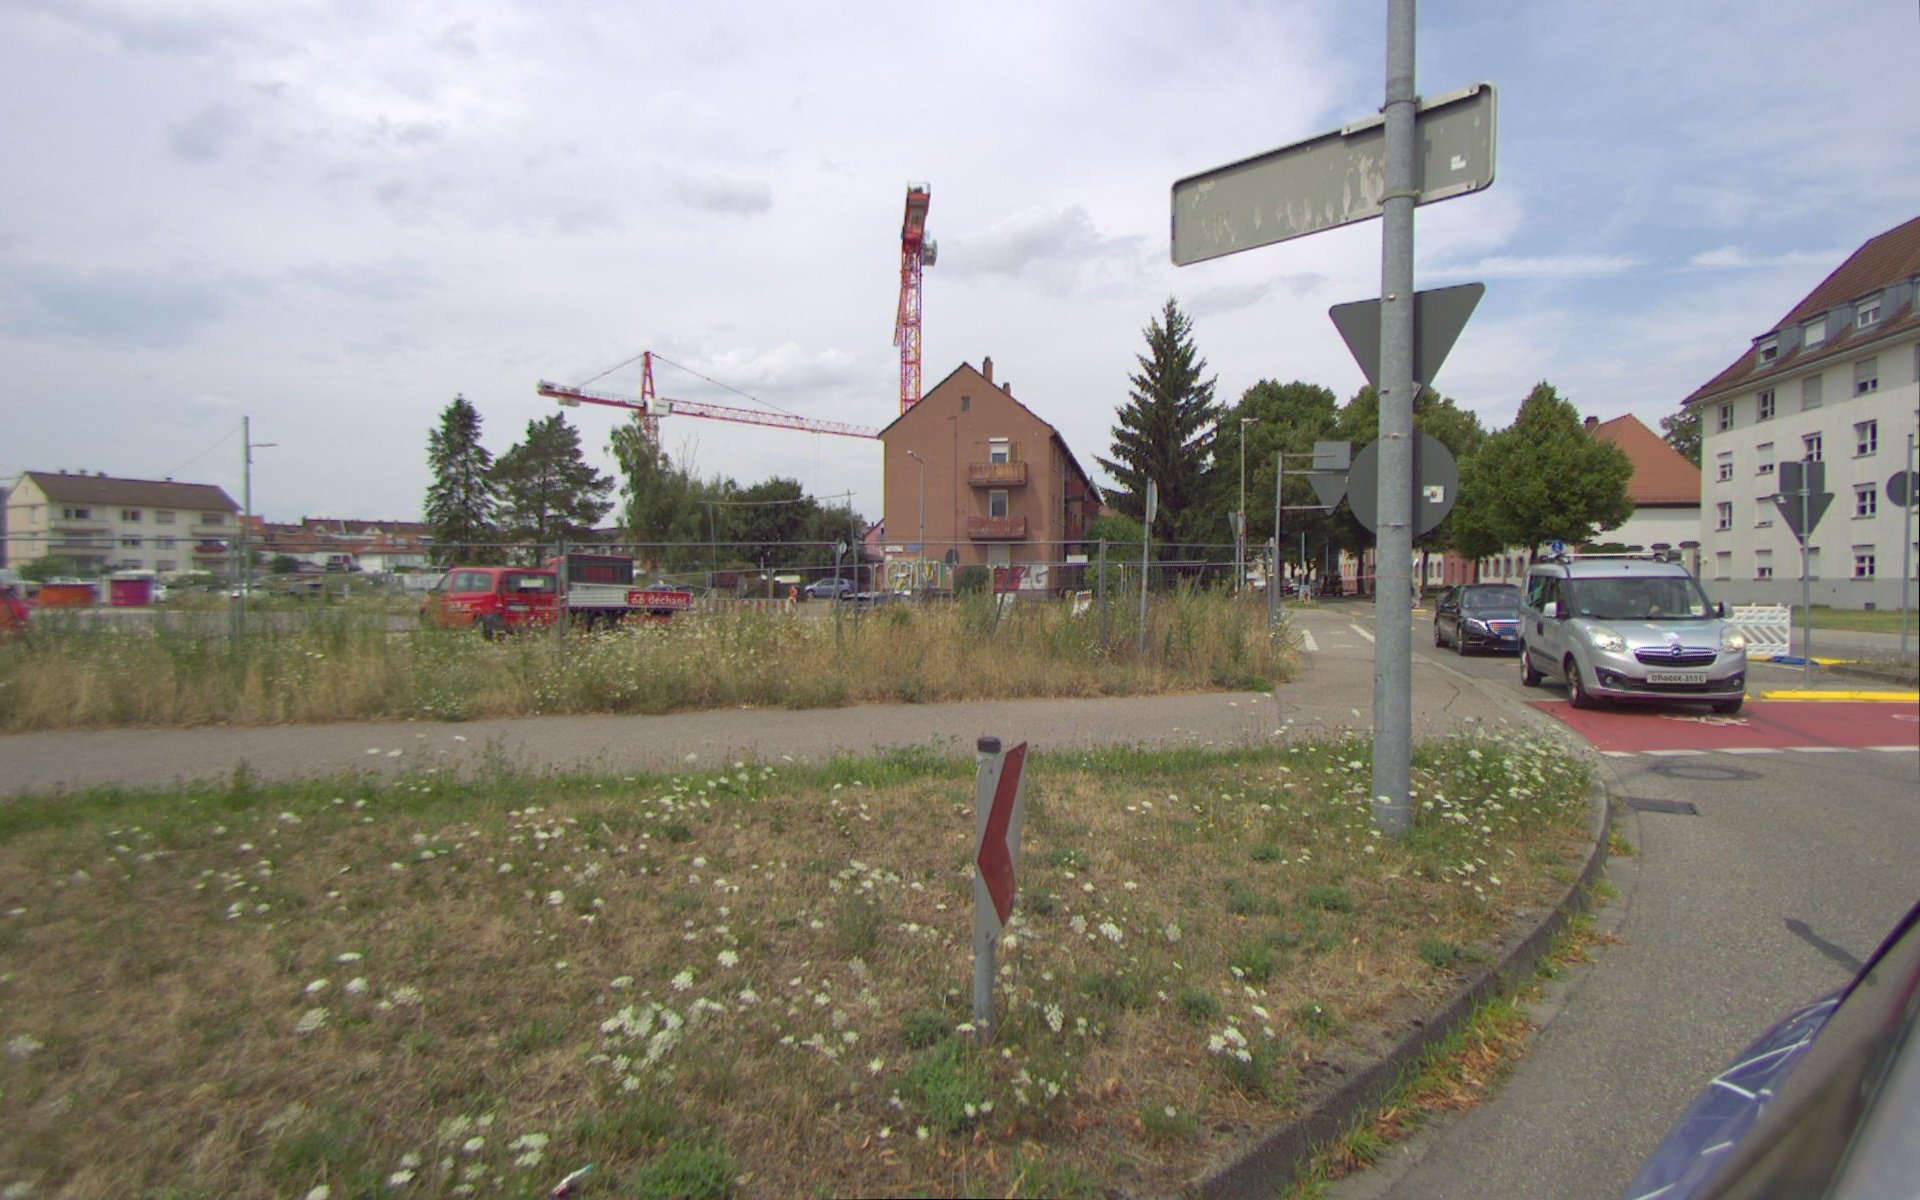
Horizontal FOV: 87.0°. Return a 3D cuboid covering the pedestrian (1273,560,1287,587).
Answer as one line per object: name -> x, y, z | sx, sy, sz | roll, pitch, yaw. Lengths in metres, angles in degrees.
pedestrian -> 24.365, -2.036, 77.048 | 0.840, 2.039, 0.731 | 0, 0, 4

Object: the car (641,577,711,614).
car -> -15.092, -0.256, 53.700 | 3.985, 1.872, 1.775 | 1, 2, 43

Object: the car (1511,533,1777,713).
car -> 8.814, 0.190, 13.520 | 1.788, 1.971, 4.556 | 0, 1, 19

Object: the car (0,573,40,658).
car -> -19.962, 0.326, 17.969 | 1.770, 1.624, 5.097 | 0, 1, 24

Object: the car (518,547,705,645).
car -> -9.920, -0.179, 28.425 | 6.521, 2.442, 2.282 | 1, 2, 44

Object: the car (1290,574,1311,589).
car -> 39.376, -2.166, 117.103 | 1.775, 1.643, 4.728 | 0, 1, 14

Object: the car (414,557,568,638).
car -> -12.447, -0.071, 26.719 | 4.970, 1.935, 1.906 | 1, -1, 43

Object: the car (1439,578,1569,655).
car -> 11.928, 0.302, 22.506 | 1.795, 1.523, 4.839 | 0, 1, 19

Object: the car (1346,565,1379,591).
car -> 36.825, -2.013, 92.703 | 1.970, 2.301, 5.141 | 0, 1, 13

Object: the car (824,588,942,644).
car -> -2.224, 0.410, 30.468 | 1.748, 1.492, 4.224 | 0, 1, 24

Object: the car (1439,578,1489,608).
car -> 27.051, -0.419, 54.452 | 1.605, 1.538, 4.199 | 1, 1, 15

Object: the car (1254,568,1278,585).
car -> 49.260, -3.815, 162.835 | 2.056, 2.719, 5.901 | 1, 1, 33

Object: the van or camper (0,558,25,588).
van or camper -> -89.081, -2.500, 93.498 | 5.194, 2.721, 2.330 | 1, 1, 27
